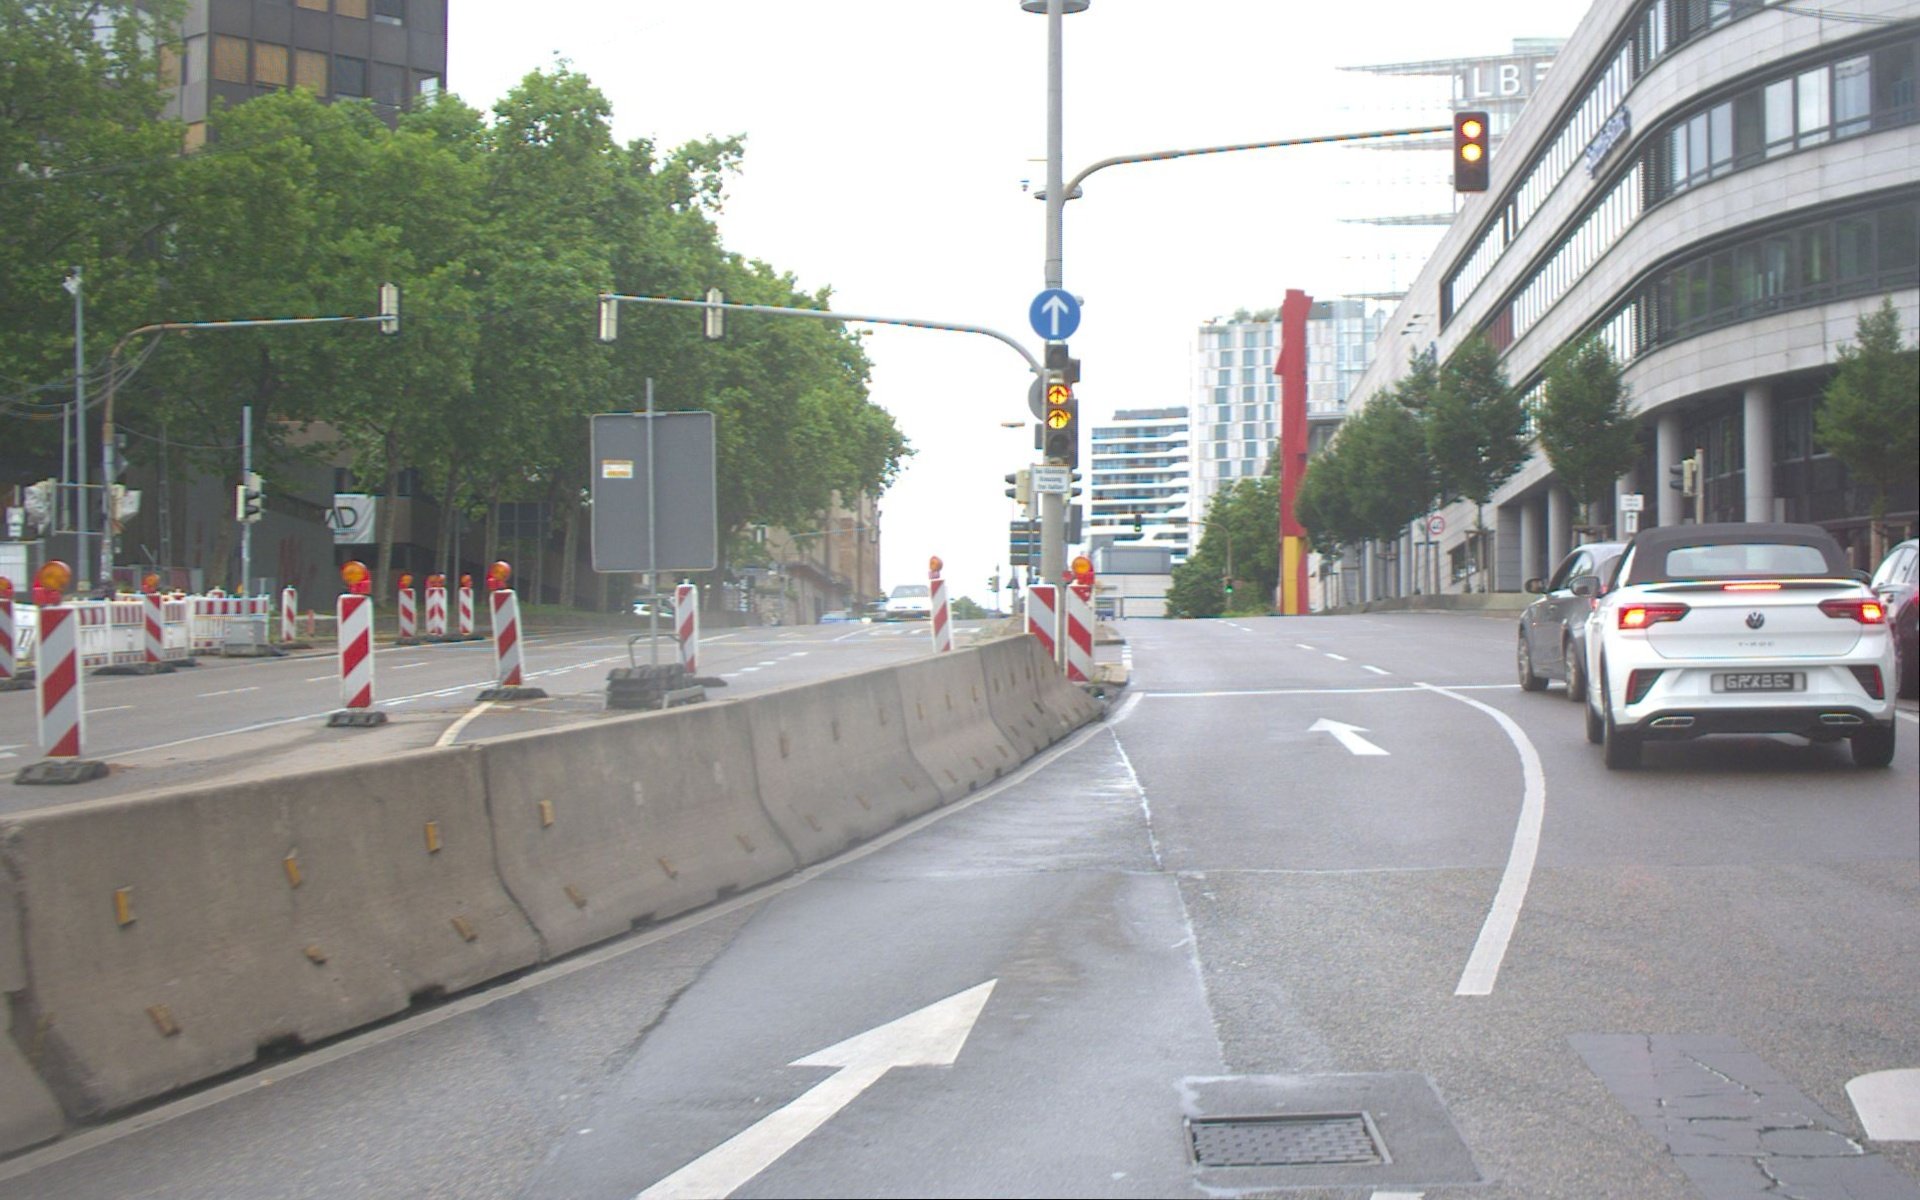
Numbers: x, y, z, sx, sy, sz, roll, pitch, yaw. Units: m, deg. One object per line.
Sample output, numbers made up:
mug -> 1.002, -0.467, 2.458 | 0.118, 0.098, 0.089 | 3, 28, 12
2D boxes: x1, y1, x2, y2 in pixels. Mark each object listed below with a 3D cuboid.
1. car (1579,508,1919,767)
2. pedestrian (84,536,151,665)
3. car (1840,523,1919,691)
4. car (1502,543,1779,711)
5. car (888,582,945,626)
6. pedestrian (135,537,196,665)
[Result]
car -> 5.128, 0.201, 22.704 | 1.964, 1.543, 4.217 | 0, 1, 9
pedestrian -> -12.664, 0.010, 51.691 | 0.761, 1.916, 0.742 | 0, -2, 5
car -> 8.995, 0.100, 30.653 | 1.755, 1.402, 4.226 | 1, 0, 8
car -> 6.119, 0.215, 31.310 | 1.739, 1.438, 4.000 | 0, 0, 0
car -> -1.520, 0.135, 122.118 | 1.761, 1.455, 4.359 | -1, 1, 2
pedestrian -> -11.926, 0.021, 51.630 | 0.672, 1.895, 0.775 | 0, -2, 5
